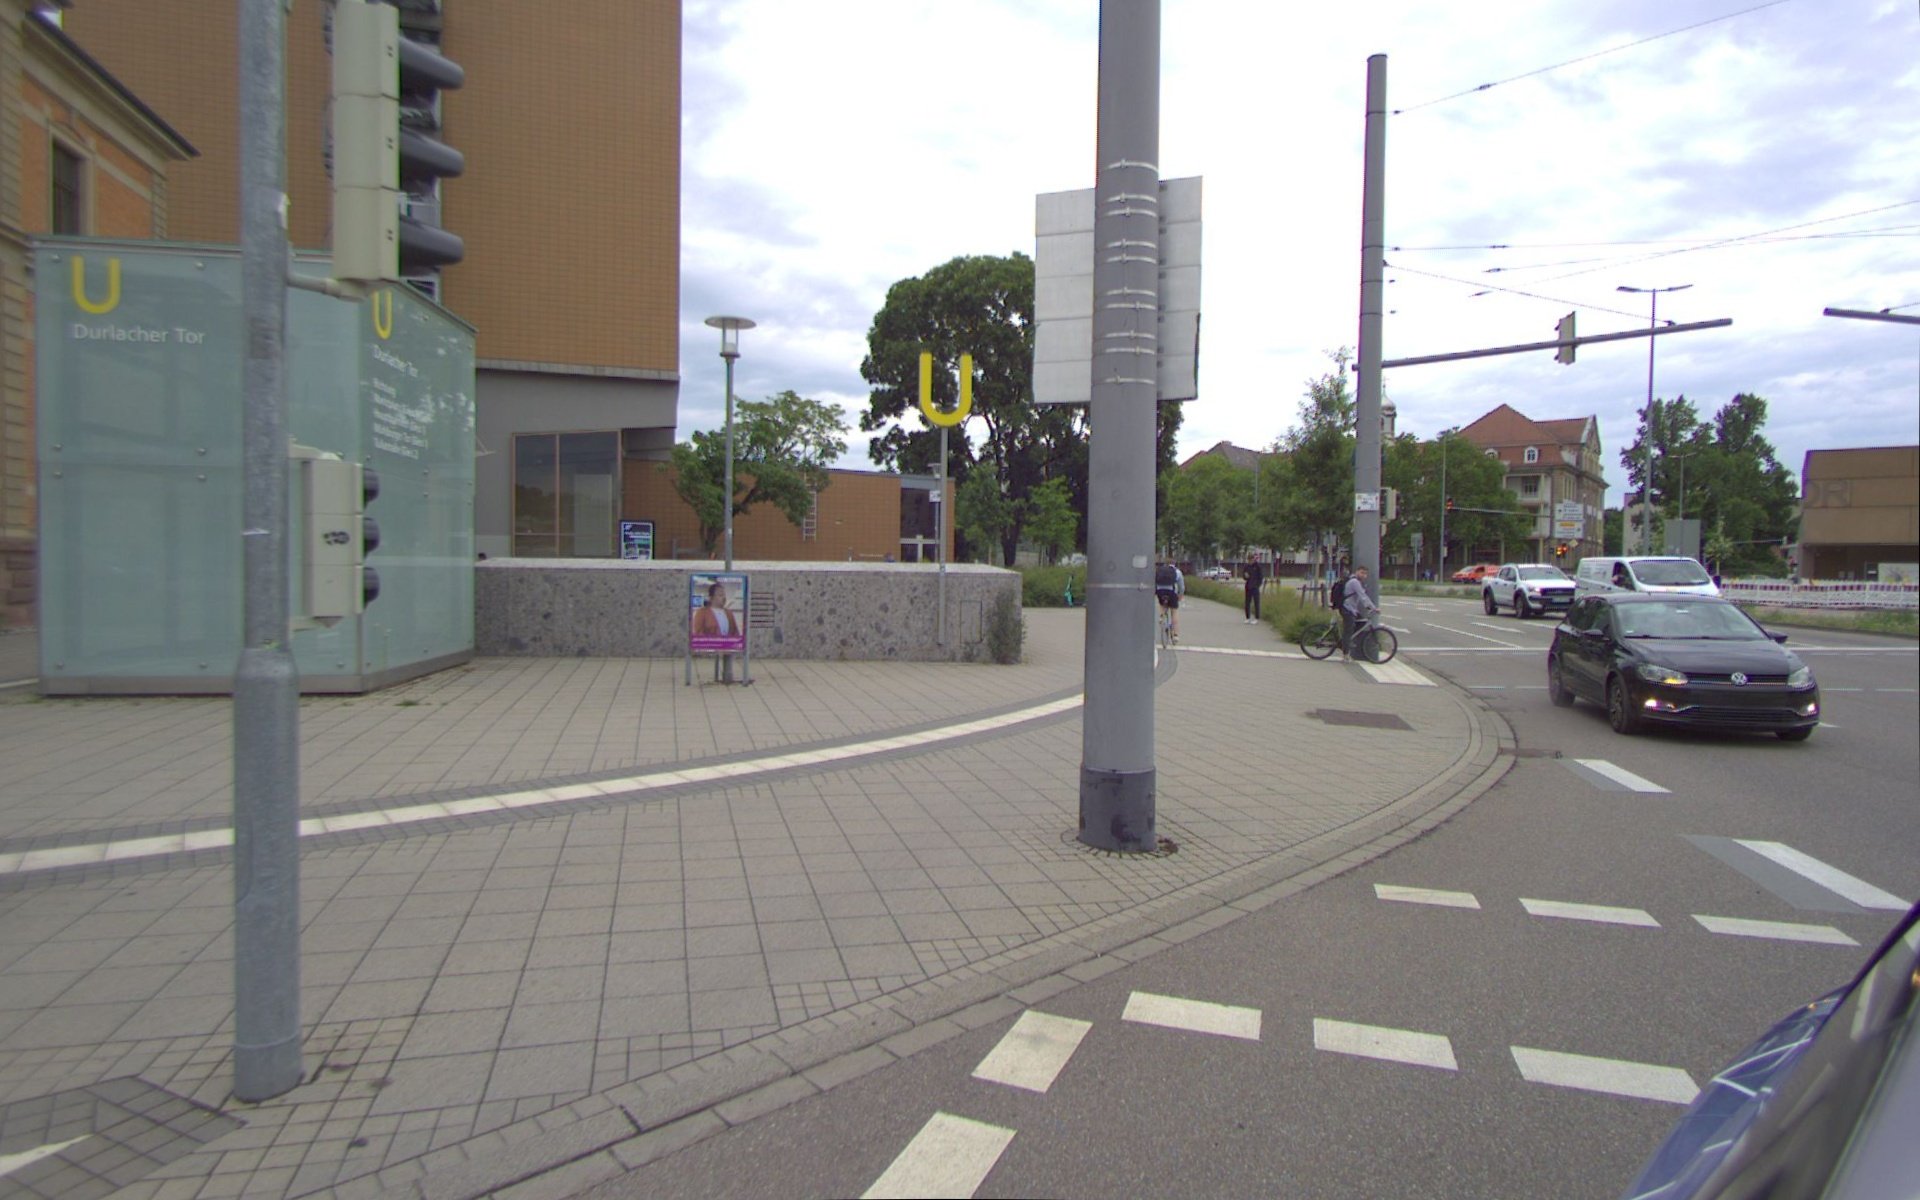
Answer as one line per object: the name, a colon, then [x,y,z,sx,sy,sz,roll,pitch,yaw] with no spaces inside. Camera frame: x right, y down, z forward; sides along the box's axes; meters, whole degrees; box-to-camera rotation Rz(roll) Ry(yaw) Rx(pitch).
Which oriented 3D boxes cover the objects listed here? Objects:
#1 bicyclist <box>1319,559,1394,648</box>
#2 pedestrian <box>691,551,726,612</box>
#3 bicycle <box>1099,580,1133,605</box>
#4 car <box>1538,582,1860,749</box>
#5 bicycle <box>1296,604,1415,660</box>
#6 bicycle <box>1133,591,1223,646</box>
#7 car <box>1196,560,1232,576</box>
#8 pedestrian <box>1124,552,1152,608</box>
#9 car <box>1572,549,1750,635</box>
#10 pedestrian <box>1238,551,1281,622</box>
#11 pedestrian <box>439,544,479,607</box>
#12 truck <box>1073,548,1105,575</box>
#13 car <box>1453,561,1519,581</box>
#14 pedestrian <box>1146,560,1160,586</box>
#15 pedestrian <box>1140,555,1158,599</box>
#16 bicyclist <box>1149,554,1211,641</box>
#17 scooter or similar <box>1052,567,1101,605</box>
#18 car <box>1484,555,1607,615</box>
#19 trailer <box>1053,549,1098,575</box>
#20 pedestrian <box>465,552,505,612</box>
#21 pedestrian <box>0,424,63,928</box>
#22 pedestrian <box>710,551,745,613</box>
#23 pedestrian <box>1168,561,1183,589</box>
bicyclist: [6.993,0.045,17.897,1.083,1.539,0.758,1,2,10]
pedestrian: [-7.386,-0.561,29.703,0.856,1.764,0.726,0,2,-25]
bicycle: [5.677,-0.291,36.732,0.553,0.859,2.053,1,2,28]
car: [7.899,0.553,11.293,1.634,1.430,3.980,1,2,17]
bicycle: [6.970,0.559,17.924,1.797,0.850,0.765,3,2,10]
bicycle: [4.131,0.345,19.114,1.827,0.944,0.672,1,4,-41]
car: [28.552,-3.548,113.901,1.958,1.749,4.009,-1,2,-21]
pedestrian: [5.908,-0.666,33.610,0.689,1.827,0.840,0,1,-6]
car: [17.542,-0.266,25.626,1.968,1.966,4.511,1,2,11]
pedestrian: [8.310,-0.389,28.126,0.856,1.952,0.726,0,1,-20]
pedestrian: [-14.268,-0.696,28.823,0.856,1.758,0.726,0,1,-10]
truck: [20.604,-6.125,161.818,2.853,4.074,7.177,-1,2,-13]
car: [46.949,-2.615,90.380,5.134,1.738,1.917,0,2,-11]
pedestrian: [14.074,-1.989,73.803,0.707,1.822,0.598,2,2,-34]
pedestrian: [8.068,-0.981,43.119,0.621,1.822,0.596,4,2,10]
bicyclist: [4.156,-0.048,19.112,0.910,1.579,0.692,1,2,-42]
scooter or similar: [4.122,-0.496,35.897,1.571,1.306,0.696,-1,1,-18]
car: [19.662,-0.546,34.264,2.057,1.871,4.739,1,2,10]
trailer: [19.075,-6.314,168.431,2.886,4.063,13.841,-1,2,-13]
pedestrian: [-13.220,-0.510,28.204,0.856,1.651,0.726,0,1,-10]
pedestrian: [-4.234,0.284,3.759,0.884,1.890,1.267,2,2,43]
pedestrian: [-6.675,-0.535,29.065,0.856,1.752,0.726,0,2,-25]
pedestrian: [14.840,-1.714,69.689,0.707,1.822,0.598,2,2,-34]
